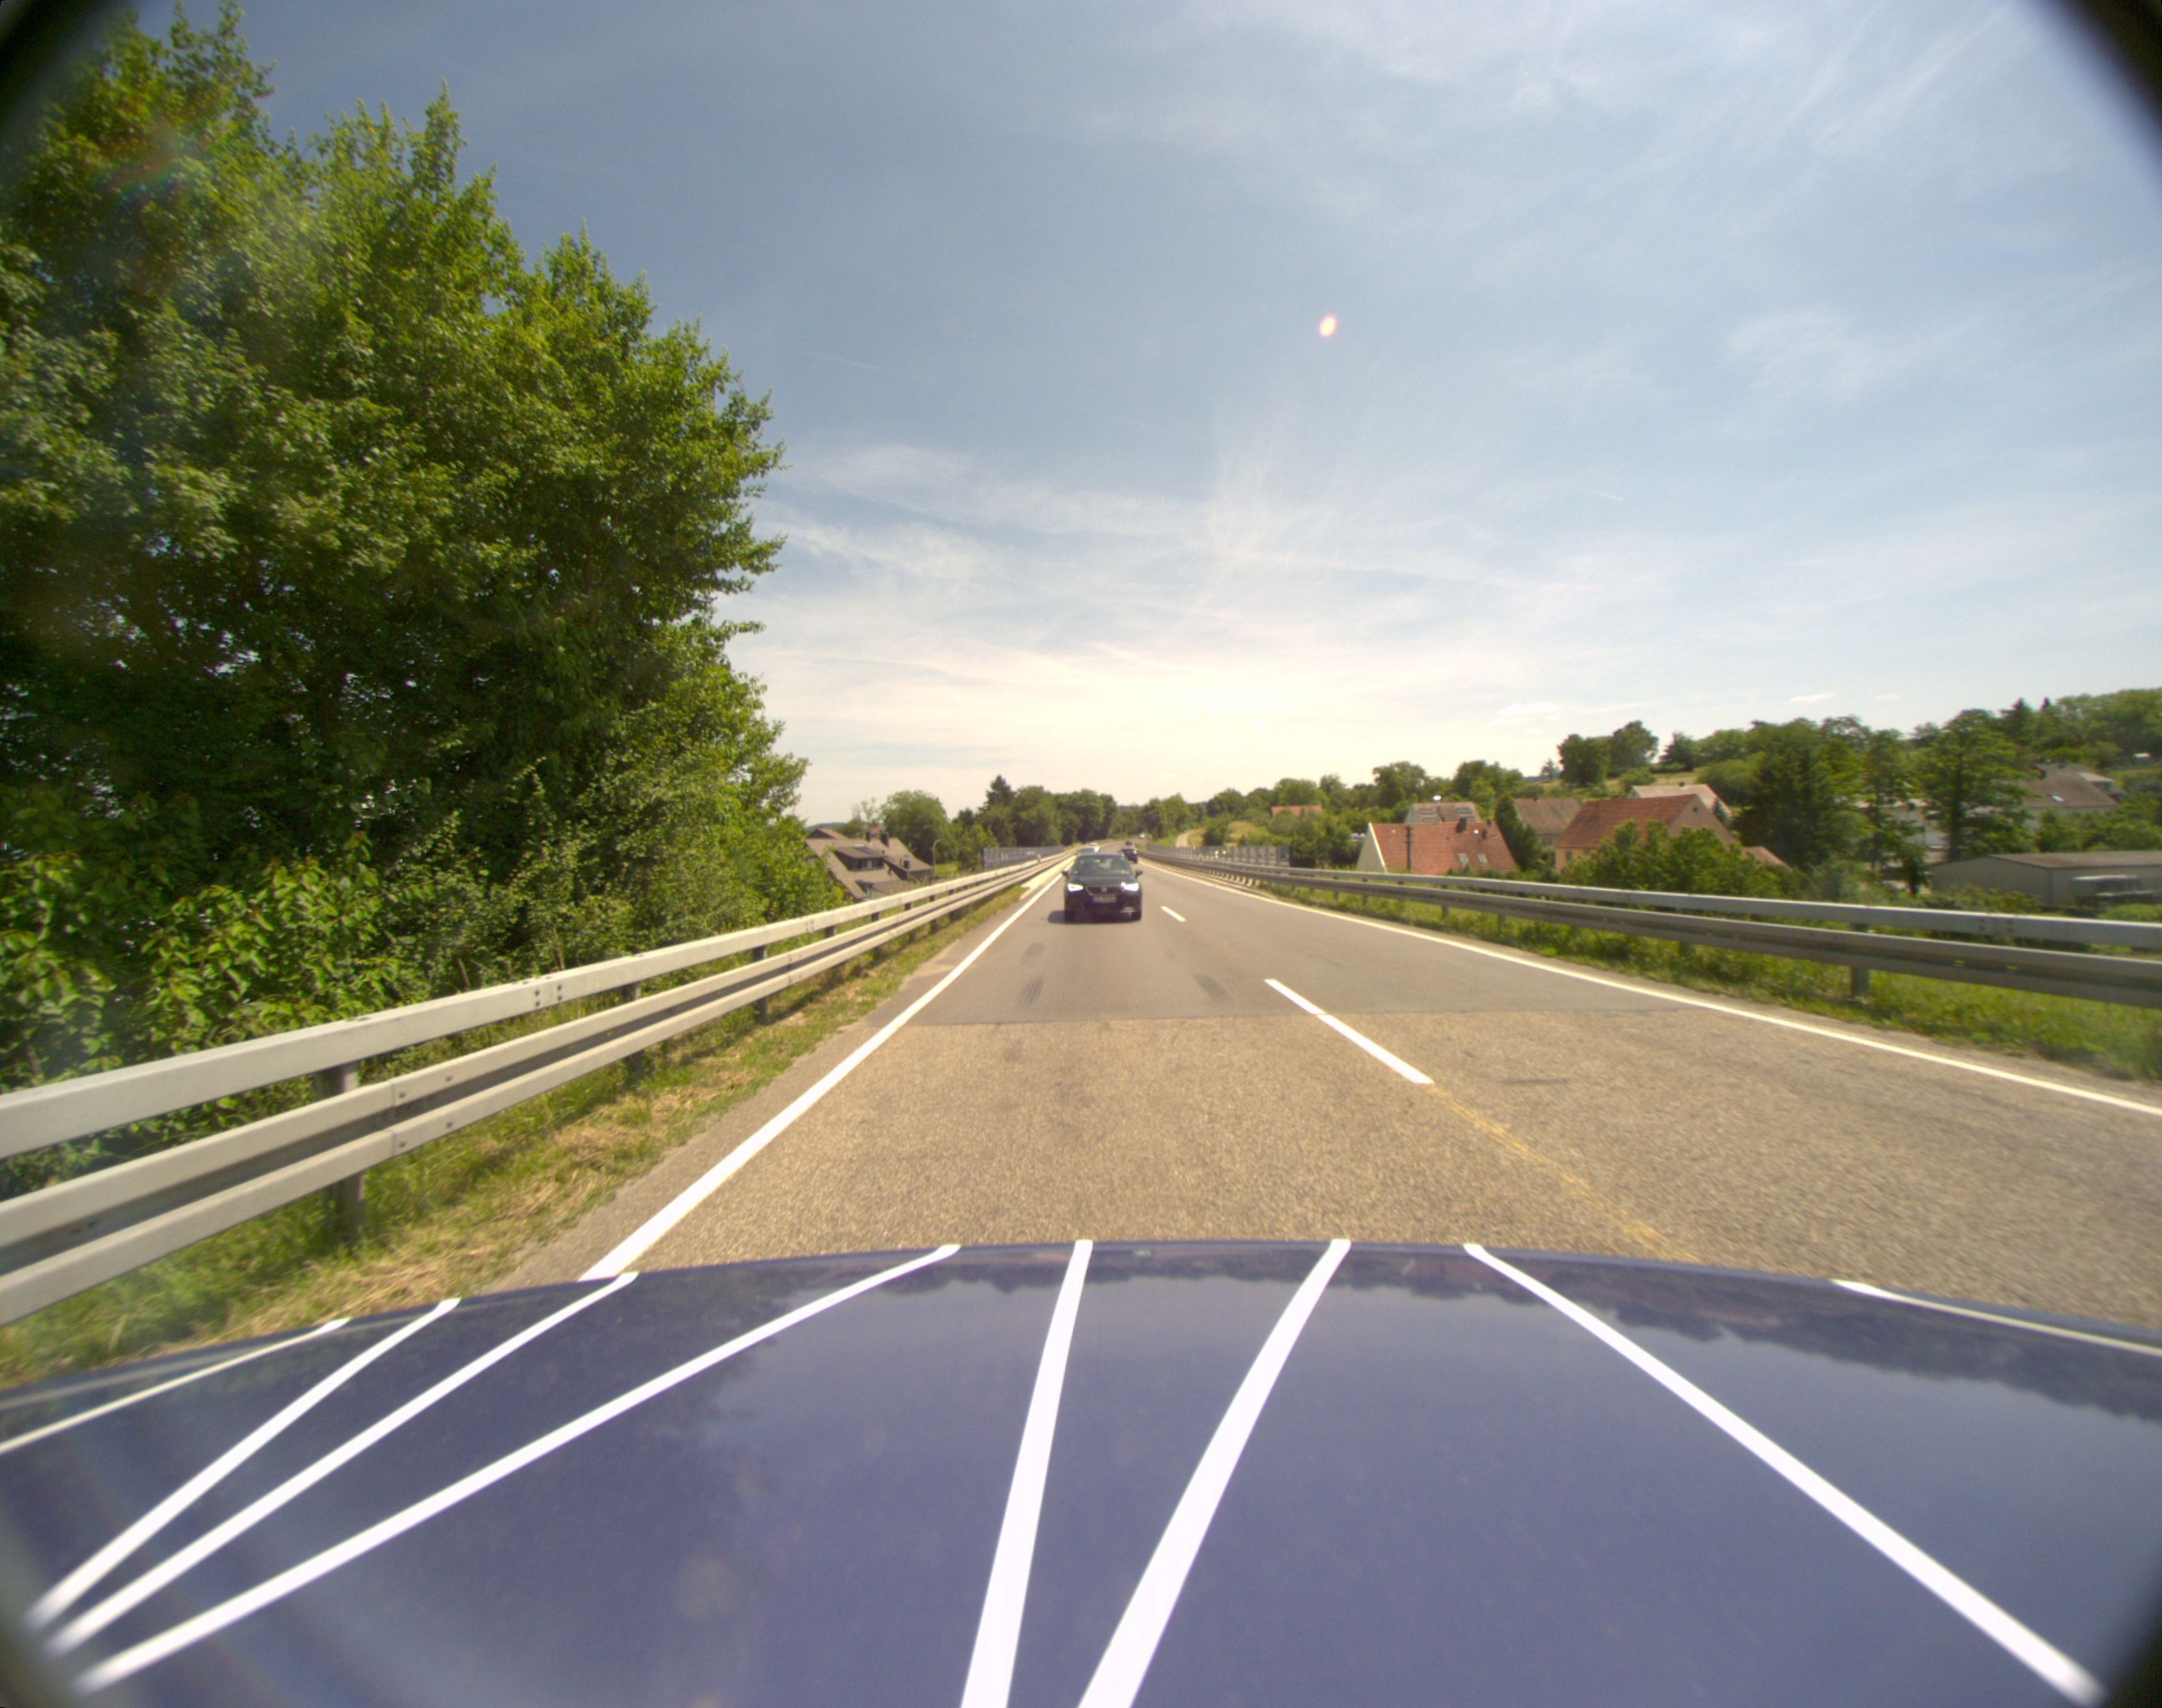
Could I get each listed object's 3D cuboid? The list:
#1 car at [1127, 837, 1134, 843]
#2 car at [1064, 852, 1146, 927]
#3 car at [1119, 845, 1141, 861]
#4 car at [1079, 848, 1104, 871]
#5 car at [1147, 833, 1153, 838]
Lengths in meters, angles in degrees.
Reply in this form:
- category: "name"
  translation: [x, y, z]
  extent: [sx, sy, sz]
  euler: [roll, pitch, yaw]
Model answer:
- category: "car"
  translation: [12.918, -3.731, 199.611]
  extent: [1.785, 1.427, 4.835]
  euler: [1, 1, 4]
- category: "car"
  translation: [0.522, 0.747, 18.105]
  extent: [1.738, 1.468, 3.999]
  euler: [0, 2, 0]
- category: "car"
  translation: [4.956, -0.119, 77.655]
  extent: [1.870, 1.602, 4.371]
  euler: [-1, 1, -1]
- category: "car"
  translation: [0.886, 0.495, 60.784]
  extent: [1.879, 1.636, 4.003]
  euler: [0, -3, 2]
- category: "car"
  translation: [23.390, -6.280, 257.975]
  extent: [1.711, 1.497, 4.118]
  euler: [1, 2, 1]
